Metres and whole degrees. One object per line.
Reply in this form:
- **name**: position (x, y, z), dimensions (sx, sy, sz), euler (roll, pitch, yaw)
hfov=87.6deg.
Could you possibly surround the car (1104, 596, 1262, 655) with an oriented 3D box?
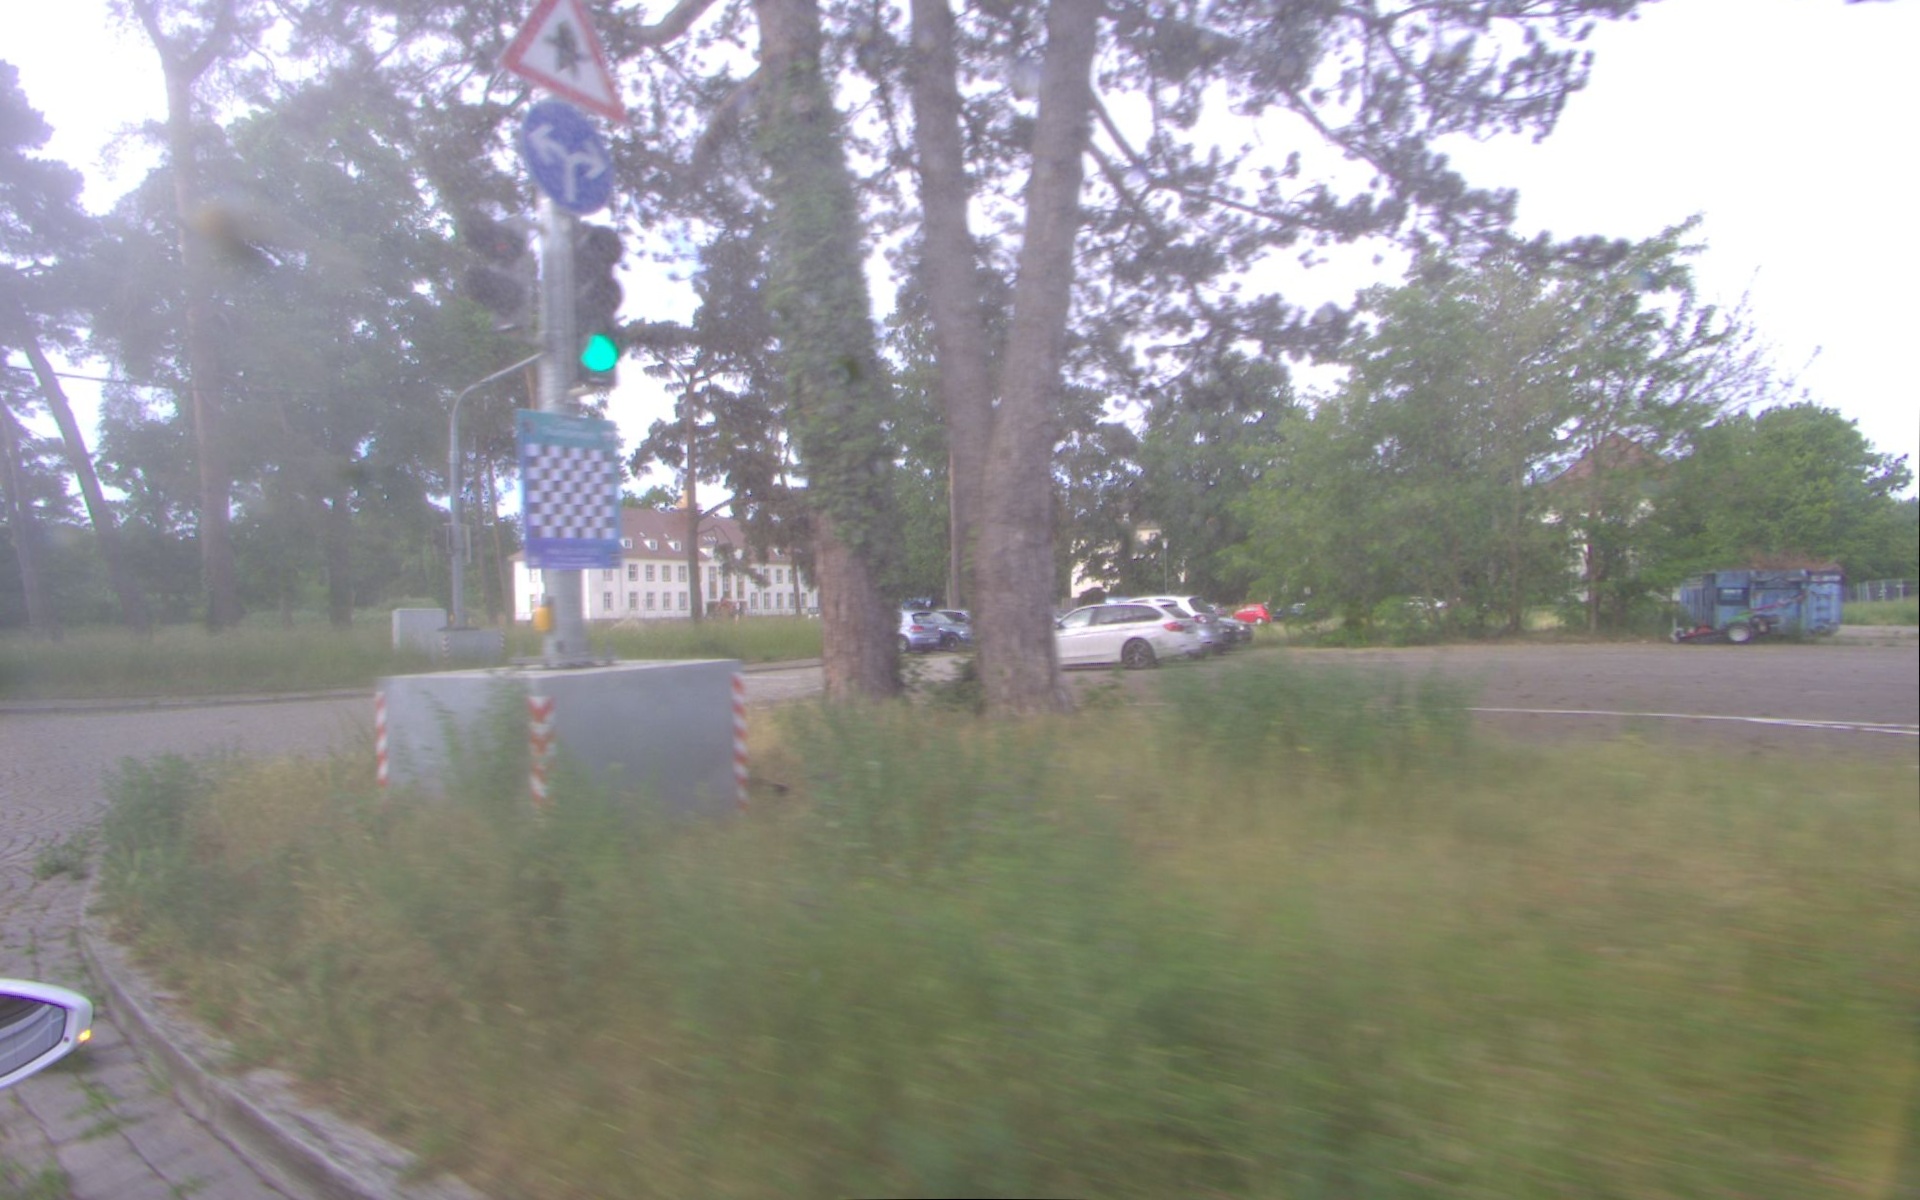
- **car**: position (6.534, 0.776, 29.507), dimensions (4.187, 1.504, 1.696), euler (-4, -2, 34)

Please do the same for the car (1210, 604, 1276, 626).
- **car**: position (19.905, 1.071, 70.550), dimensions (4.184, 1.541, 1.730), euler (-1, 0, 33)

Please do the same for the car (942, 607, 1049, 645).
- **car**: position (1.429, 1.028, 40.960), dimensions (4.191, 1.487, 1.727), euler (-1, 0, 38)

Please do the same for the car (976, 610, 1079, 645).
- **car**: position (2.848, 1.142, 42.811), dimensions (4.191, 1.408, 1.727), euler (-1, 0, 38)

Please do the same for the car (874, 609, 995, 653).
- **car**: position (-0.941, 1.101, 36.388), dimensions (4.185, 1.487, 1.729), euler (-1, 0, 34)

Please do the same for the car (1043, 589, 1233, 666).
- **car**: position (4.345, 0.693, 24.535), dimensions (4.182, 1.626, 1.779), euler (-4, -1, 30)

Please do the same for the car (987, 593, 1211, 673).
- **car**: position (3.044, 0.776, 22.233), dimensions (4.543, 1.505, 1.846), euler (-4, -3, 30)

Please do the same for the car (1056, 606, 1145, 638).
- **car**: position (7.000, 1.079, 49.999), dimensions (4.191, 1.521, 1.610), euler (-1, 0, 38)

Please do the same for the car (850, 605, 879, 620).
- **car**: position (-12.946, 1.673, 136.162), dimensions (1.900, 1.929, 4.056), euler (-1, -2, 30)

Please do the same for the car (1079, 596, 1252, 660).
- **car**: position (5.488, 0.767, 26.924), dimensions (4.187, 1.504, 1.696), euler (-4, -2, 34)

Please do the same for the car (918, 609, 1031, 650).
- **car**: position (0.529, 1.105, 38.721), dimensions (4.191, 1.487, 1.727), euler (-1, 0, 38)

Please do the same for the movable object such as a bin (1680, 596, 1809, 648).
- **movable object such as a bin**: position (18.247, 0.527, 23.363), dimensions (2.176, 1.149, 0.960), euler (-1, -1, 24)

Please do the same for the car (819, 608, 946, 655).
- **car**: position (-2.684, 1.050, 34.386), dimensions (4.185, 1.529, 1.729), euler (-1, 0, 34)

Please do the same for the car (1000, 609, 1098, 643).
- **car**: position (3.990, 1.153, 45.192), dimensions (4.191, 1.492, 1.727), euler (-1, 0, 38)

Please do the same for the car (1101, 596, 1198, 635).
- **car**: position (10.262, 0.856, 54.373), dimensions (4.725, 2.053, 2.130), euler (-1, 0, 34)

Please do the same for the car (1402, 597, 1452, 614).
- **car**: position (57.003, 0.709, 122.226), dimensions (5.224, 1.980, 2.079), euler (-1, -2, 33)

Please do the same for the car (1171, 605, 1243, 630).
- **car**: position (15.837, 1.114, 64.351), dimensions (4.184, 1.541, 1.730), euler (-1, 0, 33)

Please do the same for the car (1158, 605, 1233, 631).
- **car**: position (14.530, 1.105, 61.869), dimensions (4.184, 1.541, 1.730), euler (-1, 0, 33)
